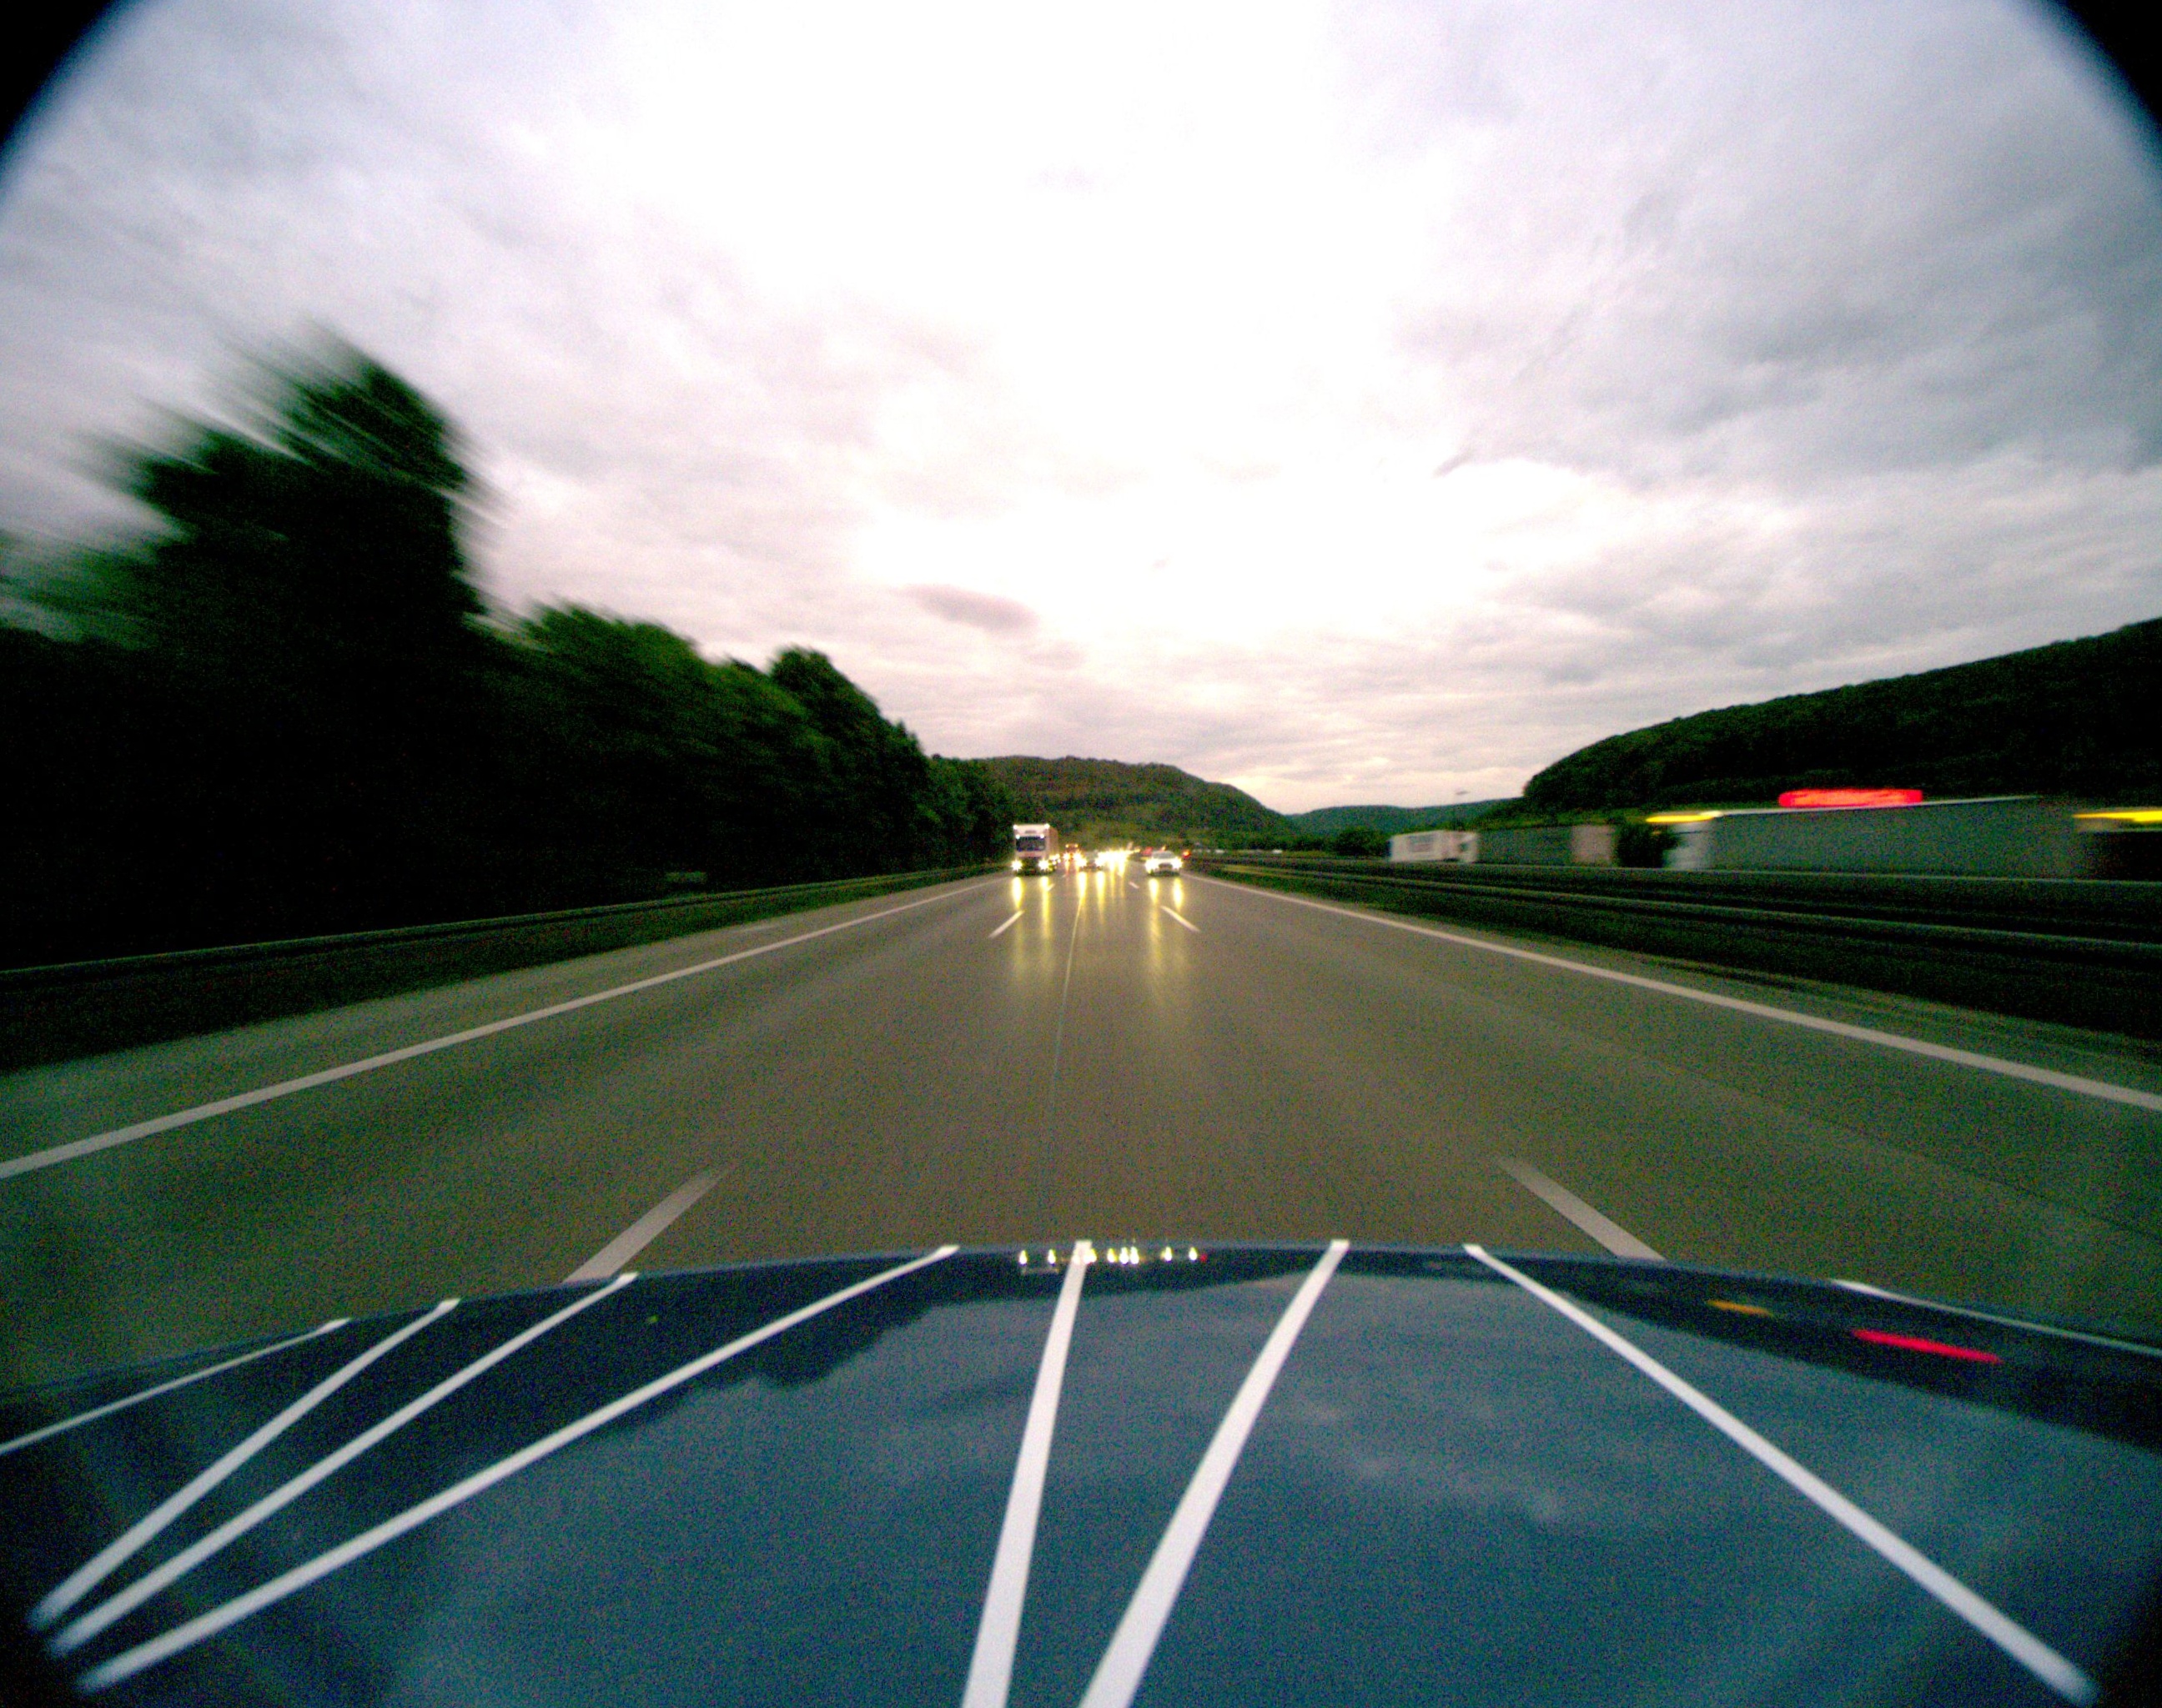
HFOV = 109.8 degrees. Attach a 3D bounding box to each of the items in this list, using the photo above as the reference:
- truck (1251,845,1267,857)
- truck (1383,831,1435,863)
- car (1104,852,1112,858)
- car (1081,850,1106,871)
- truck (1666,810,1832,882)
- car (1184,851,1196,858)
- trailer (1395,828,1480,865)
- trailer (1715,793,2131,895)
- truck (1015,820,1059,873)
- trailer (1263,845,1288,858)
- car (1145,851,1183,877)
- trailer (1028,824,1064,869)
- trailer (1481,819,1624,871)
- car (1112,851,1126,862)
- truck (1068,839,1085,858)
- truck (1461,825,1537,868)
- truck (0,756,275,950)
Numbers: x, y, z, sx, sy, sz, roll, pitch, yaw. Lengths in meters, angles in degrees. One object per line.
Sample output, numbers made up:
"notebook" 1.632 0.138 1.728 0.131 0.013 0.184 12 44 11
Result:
"truck" 44.638 -0.741 190.603 2.874 3.070 5.304 0 1 2
"truck" 36.192 -0.753 84.125 2.880 3.356 7.175 -1 0 2
"car" 6.742 0.228 187.973 1.898 1.503 4.000 -1 1 1
"car" 1.002 0.495 62.311 1.927 1.674 4.806 0 1 0
"truck" 34.567 -0.403 39.744 2.880 3.405 6.727 -1 0 2
"car" 23.549 0.091 164.841 1.998 1.584 4.740 -1 0 1
"trailer" 35.893 -0.752 77.288 2.880 3.405 13.225 -1 0 3
"trailer" 34.320 -0.370 32.688 2.880 3.405 13.851 -1 0 2
"truck" -3.335 -0.598 60.089 2.623 3.805 10.385 -1 1 1
"trailer" 44.586 -0.594 174.940 2.874 3.070 11.158 0 1 0
"car" 5.156 0.566 47.871 1.794 1.492 5.037 -2 0 0
"trailer" -3.136 -0.706 69.701 2.623 3.805 8.877 -1 1 1
"trailer" 35.183 -0.623 57.746 2.880 3.405 13.571 -1 0 2
"car" 6.024 0.319 121.939 1.894 1.650 5.638 -2 1 0
"truck" -0.884 -1.151 164.507 3.119 3.850 14.163 2 1 2
"truck" 35.430 -0.643 64.691 2.880 3.405 6.726 -1 0 2
"truck" -23.033 -0.013 14.769 2.847 3.893 11.981 0 1 -6
